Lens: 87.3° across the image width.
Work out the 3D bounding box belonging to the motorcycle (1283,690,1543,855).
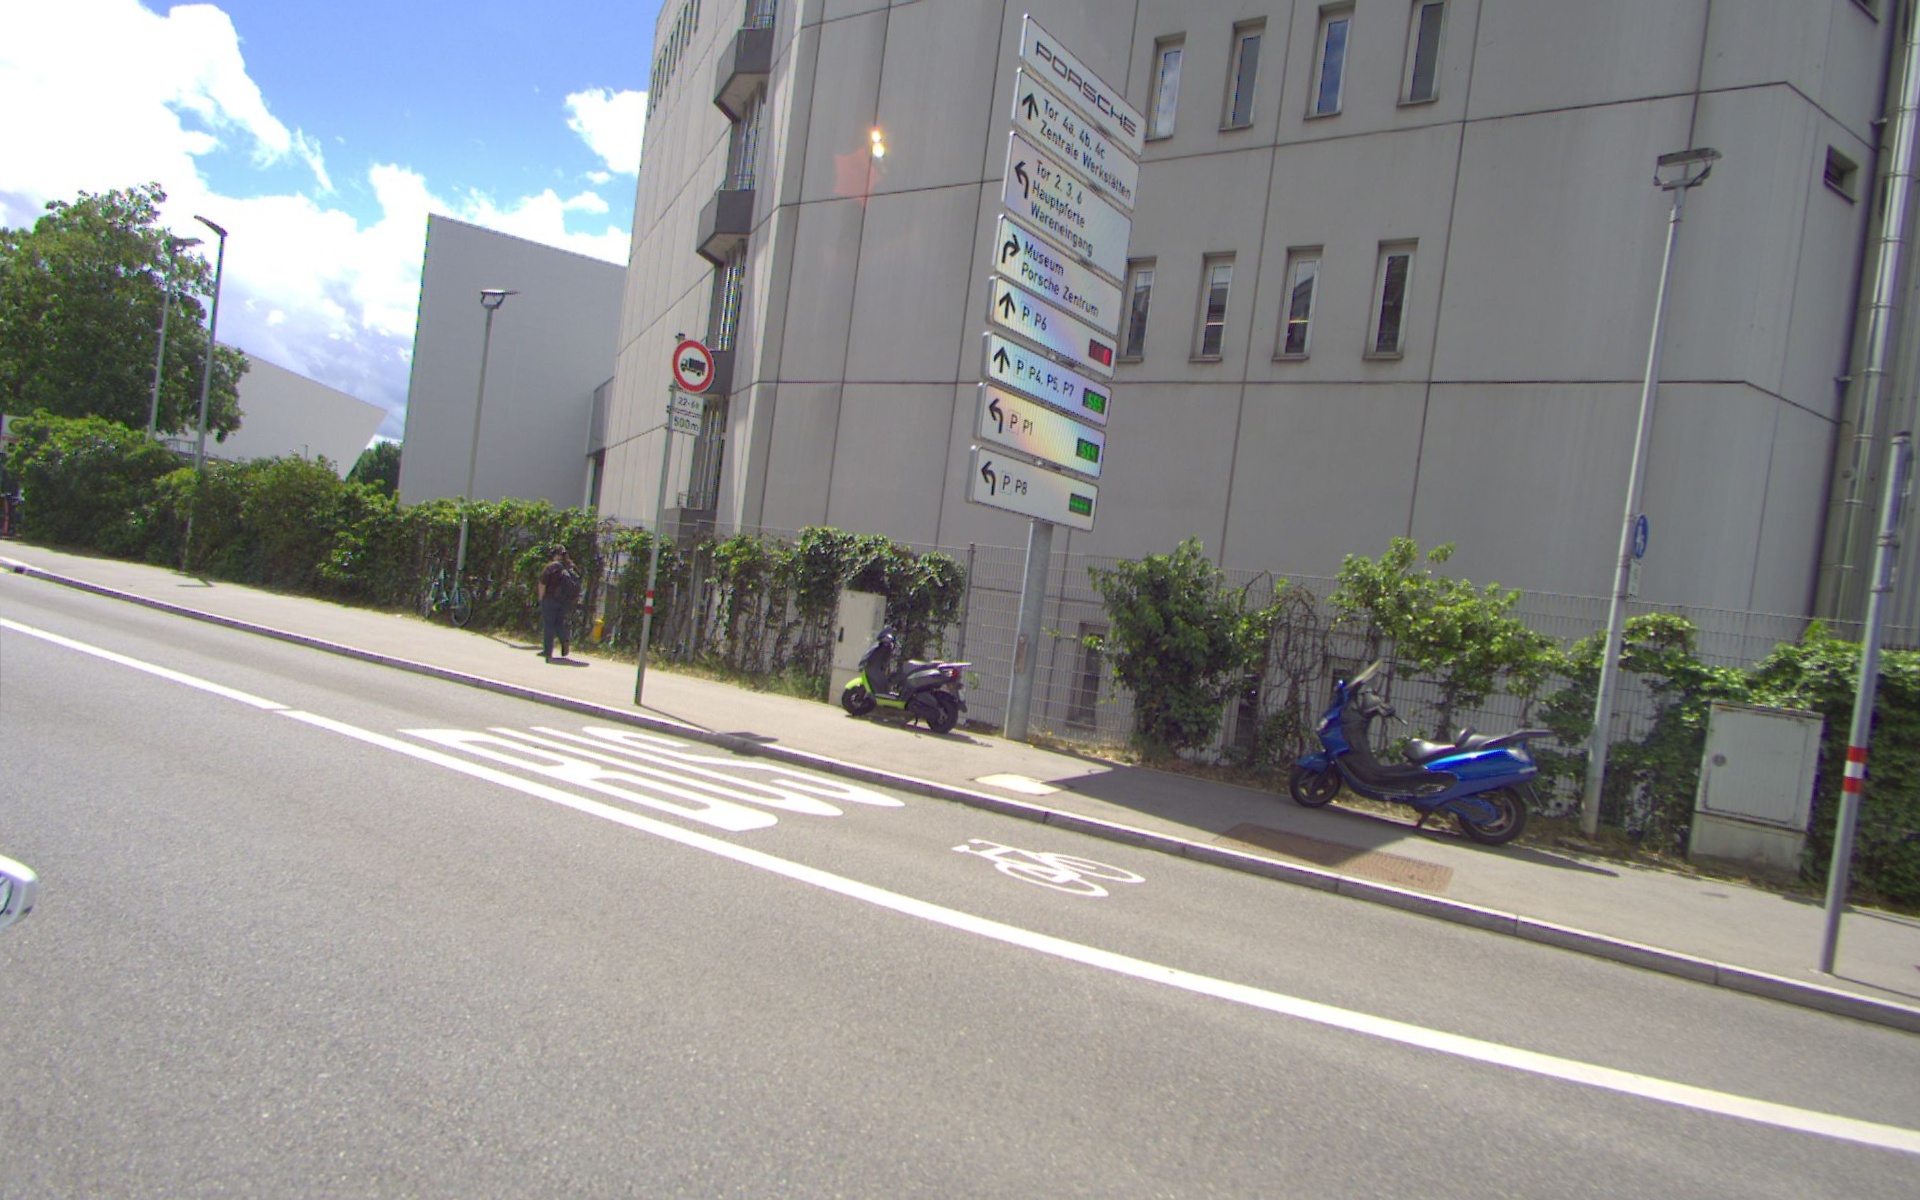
[{"bbox_3d":[4.098,1.513,9.188,2.003,1.081,0.591,7,2,32],"label":"motorcycle"}]

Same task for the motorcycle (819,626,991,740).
[{"bbox_3d":[-0.690,0.972,12.161,2.003,1.081,0.591,7,1,32],"label":"motorcycle"}]

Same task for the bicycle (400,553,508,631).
[{"bbox_3d":[-9.242,-0.162,18.340,2.428,1.194,0.444,6,-1,32],"label":"bicycle"}]

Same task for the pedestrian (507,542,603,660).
[{"bbox_3d":[-6.140,0.024,15.253,0.981,1.666,0.810,6,2,30],"label":"pedestrian"}]

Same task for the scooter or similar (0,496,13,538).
[{"bbox_3d":[-27.516,-2.379,28.452,0.537,1.177,2.110,5,1,-31],"label":"scooter or similar"}]

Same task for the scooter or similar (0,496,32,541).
[{"bbox_3d":[-26.436,-2.268,27.934,0.537,1.178,1.777,5,1,-31],"label":"scooter or similar"}]
